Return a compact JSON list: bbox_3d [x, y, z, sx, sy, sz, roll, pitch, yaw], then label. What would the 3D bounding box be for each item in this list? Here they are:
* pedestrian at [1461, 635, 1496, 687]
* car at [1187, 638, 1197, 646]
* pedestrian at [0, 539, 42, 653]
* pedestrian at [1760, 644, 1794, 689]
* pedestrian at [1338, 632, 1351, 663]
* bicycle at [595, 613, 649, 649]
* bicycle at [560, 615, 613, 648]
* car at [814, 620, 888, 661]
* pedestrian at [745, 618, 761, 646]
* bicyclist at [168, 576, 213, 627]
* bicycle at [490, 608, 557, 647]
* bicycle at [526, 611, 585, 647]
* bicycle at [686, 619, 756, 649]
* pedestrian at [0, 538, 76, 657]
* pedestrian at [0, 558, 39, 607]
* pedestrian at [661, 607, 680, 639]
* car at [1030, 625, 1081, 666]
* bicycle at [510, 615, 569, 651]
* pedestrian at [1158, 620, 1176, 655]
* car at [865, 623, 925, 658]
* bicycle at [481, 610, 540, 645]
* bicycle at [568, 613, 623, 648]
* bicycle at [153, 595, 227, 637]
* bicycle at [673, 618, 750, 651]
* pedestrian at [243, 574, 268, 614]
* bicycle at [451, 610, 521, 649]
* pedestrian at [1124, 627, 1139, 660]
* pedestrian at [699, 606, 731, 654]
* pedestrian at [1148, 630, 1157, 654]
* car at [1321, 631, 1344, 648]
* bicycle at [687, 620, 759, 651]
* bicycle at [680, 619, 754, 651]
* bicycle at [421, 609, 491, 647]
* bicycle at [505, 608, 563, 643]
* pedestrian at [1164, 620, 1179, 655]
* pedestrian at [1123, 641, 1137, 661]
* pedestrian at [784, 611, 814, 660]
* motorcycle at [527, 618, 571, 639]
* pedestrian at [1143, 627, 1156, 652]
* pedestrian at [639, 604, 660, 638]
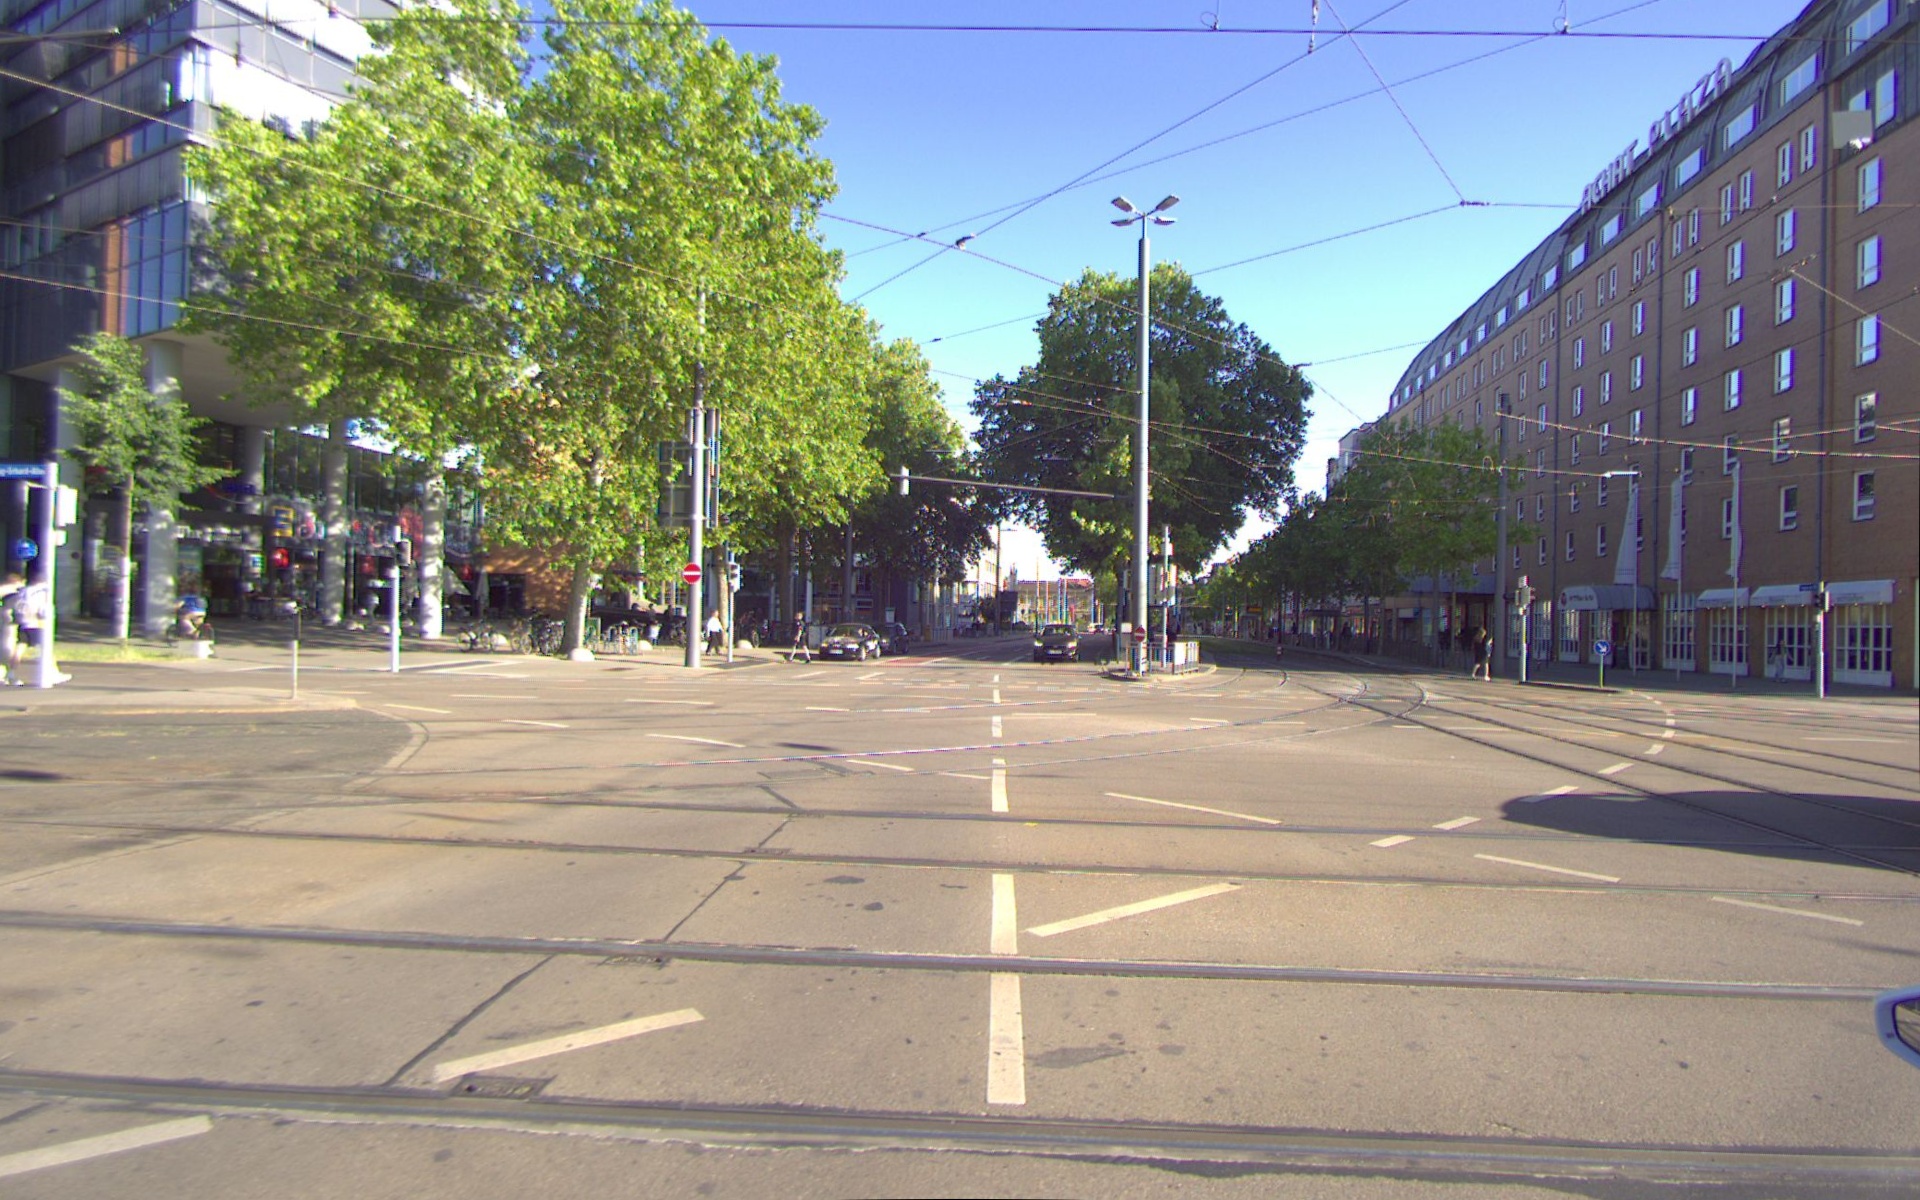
[{"bbox_3d":[17.370,2.043,33.674,0.814,1.702,0.717,1,-2,4],"label":"pedestrian"},{"bbox_3d":[45.855,8.350,198.444,1.586,1.521,3.694,3,-2,9],"label":"car"},{"bbox_3d":[-16.228,-0.071,16.948,0.685,1.894,0.734,2,-2,12],"label":"pedestrian"},{"bbox_3d":[31.520,2.573,38.754,0.726,1.687,0.754,2,-2,4],"label":"pedestrian"},{"bbox_3d":[21.604,2.674,56.475,0.593,1.702,0.487,1,-2,10],"label":"pedestrian"},{"bbox_3d":[-11.450,1.081,34.082,0.587,1.143,2.369,2,-3,12],"label":"bicycle"},{"bbox_3d":[-13.605,1.158,36.667,0.587,1.143,2.369,2,-3,12],"label":"bicycle"},{"bbox_3d":[-4.160,1.599,39.038,1.637,1.425,4.004,3,-3,12],"label":"car"},{"bbox_3d":[-12.758,1.952,61.952,0.684,1.674,0.706,3,-2,11],"label":"pedestrian"},{"bbox_3d":[-23.274,0.040,30.386,0.739,1.480,0.694,2,-2,12],"label":"bicyclist"},{"bbox_3d":[-13.595,0.890,31.344,0.587,1.143,2.369,2,-3,13],"label":"bicycle"},{"bbox_3d":[-13.710,1.002,34.144,0.587,1.143,2.369,2,-3,12],"label":"bicycle"},{"bbox_3d":[-12.351,1.777,51.990,3.298,1.371,1.035,3,-2,-3],"label":"bicycle"},{"bbox_3d":[-15.191,-0.027,16.432,0.659,1.894,0.734,2,-2,10],"label":"pedestrian"},{"bbox_3d":[-34.531,-0.622,36.835,0.685,1.727,0.734,2,-2,12],"label":"pedestrian"},{"bbox_3d":[-15.793,1.263,54.841,0.684,1.674,0.706,3,-2,10],"label":"pedestrian"},{"bbox_3d":[3.796,1.822,39.485,1.637,1.432,4.004,3,-3,10],"label":"car"},{"bbox_3d":[-14.340,1.145,34.342,0.587,1.143,2.369,2,-3,12],"label":"bicycle"},{"bbox_3d":[11.183,2.046,54.235,0.584,1.852,0.741,2,-2,41],"label":"pedestrian"},{"bbox_3d":[-2.924,1.871,45.933,1.637,1.425,4.004,3,-3,12],"label":"car"},{"bbox_3d":[-15.819,0.998,35.435,0.587,1.143,2.369,2,-3,12],"label":"bicycle"},{"bbox_3d":[-12.500,1.062,34.534,0.587,1.143,2.369,2,-3,12],"label":"bicycle"},{"bbox_3d":[-23.278,0.494,30.365,1.814,1.151,0.694,2,-2,12],"label":"bicycle"},{"bbox_3d":[-11.596,1.604,46.939,3.298,1.371,1.035,3,-2,-3],"label":"bicycle"},{"bbox_3d":[-30.823,-0.260,43.954,0.689,1.674,0.702,2,-2,43],"label":"pedestrian"},{"bbox_3d":[-14.834,0.958,31.507,0.587,1.143,2.369,2,-3,13],"label":"bicycle"},{"bbox_3d":[9.713,2.465,56.883,0.581,1.824,0.744,2,-2,26],"label":"pedestrian"},{"bbox_3d":[-8.740,1.073,35.844,0.815,1.702,0.716,0,-3,20],"label":"pedestrian"},{"bbox_3d":[13.131,2.844,68.557,0.492,1.594,0.494,3,0,14],"label":"pedestrian"},{"bbox_3d":[39.934,4.232,107.699,1.643,1.674,3.694,3,-2,11],"label":"car"},{"bbox_3d":[-11.878,1.809,50.470,3.298,1.371,1.035,3,-2,-3],"label":"bicycle"},{"bbox_3d":[-11.814,1.718,48.953,3.298,1.371,1.035,3,-2,-3],"label":"bicycle"},{"bbox_3d":[-16.190,0.935,32.321,0.587,1.143,2.369,2,-3,13],"label":"bicycle"},{"bbox_3d":[-14.862,0.909,35.123,0.587,1.143,2.369,2,-3,12],"label":"bicycle"},{"bbox_3d":[11.257,1.993,53.396,0.623,1.852,0.745,3,-2,5],"label":"pedestrian"},{"bbox_3d":[10.250,3.072,60.604,0.581,1.179,0.744,2,-2,26],"label":"pedestrian"},{"bbox_3d":[-5.755,1.269,35.940,0.814,1.702,0.717,1,-2,13],"label":"pedestrian"},{"bbox_3d":[-23.507,1.619,57.440,2.297,1.072,0.832,2,-2,21],"label":"motorcycle"},{"bbox_3d":[12.577,2.602,66.552,0.666,1.594,0.480,3,0,-37],"label":"pedestrian"},{"bbox_3d":[-17.134,1.159,55.428,0.685,1.790,0.706,2,-2,23],"label":"pedestrian"}]
